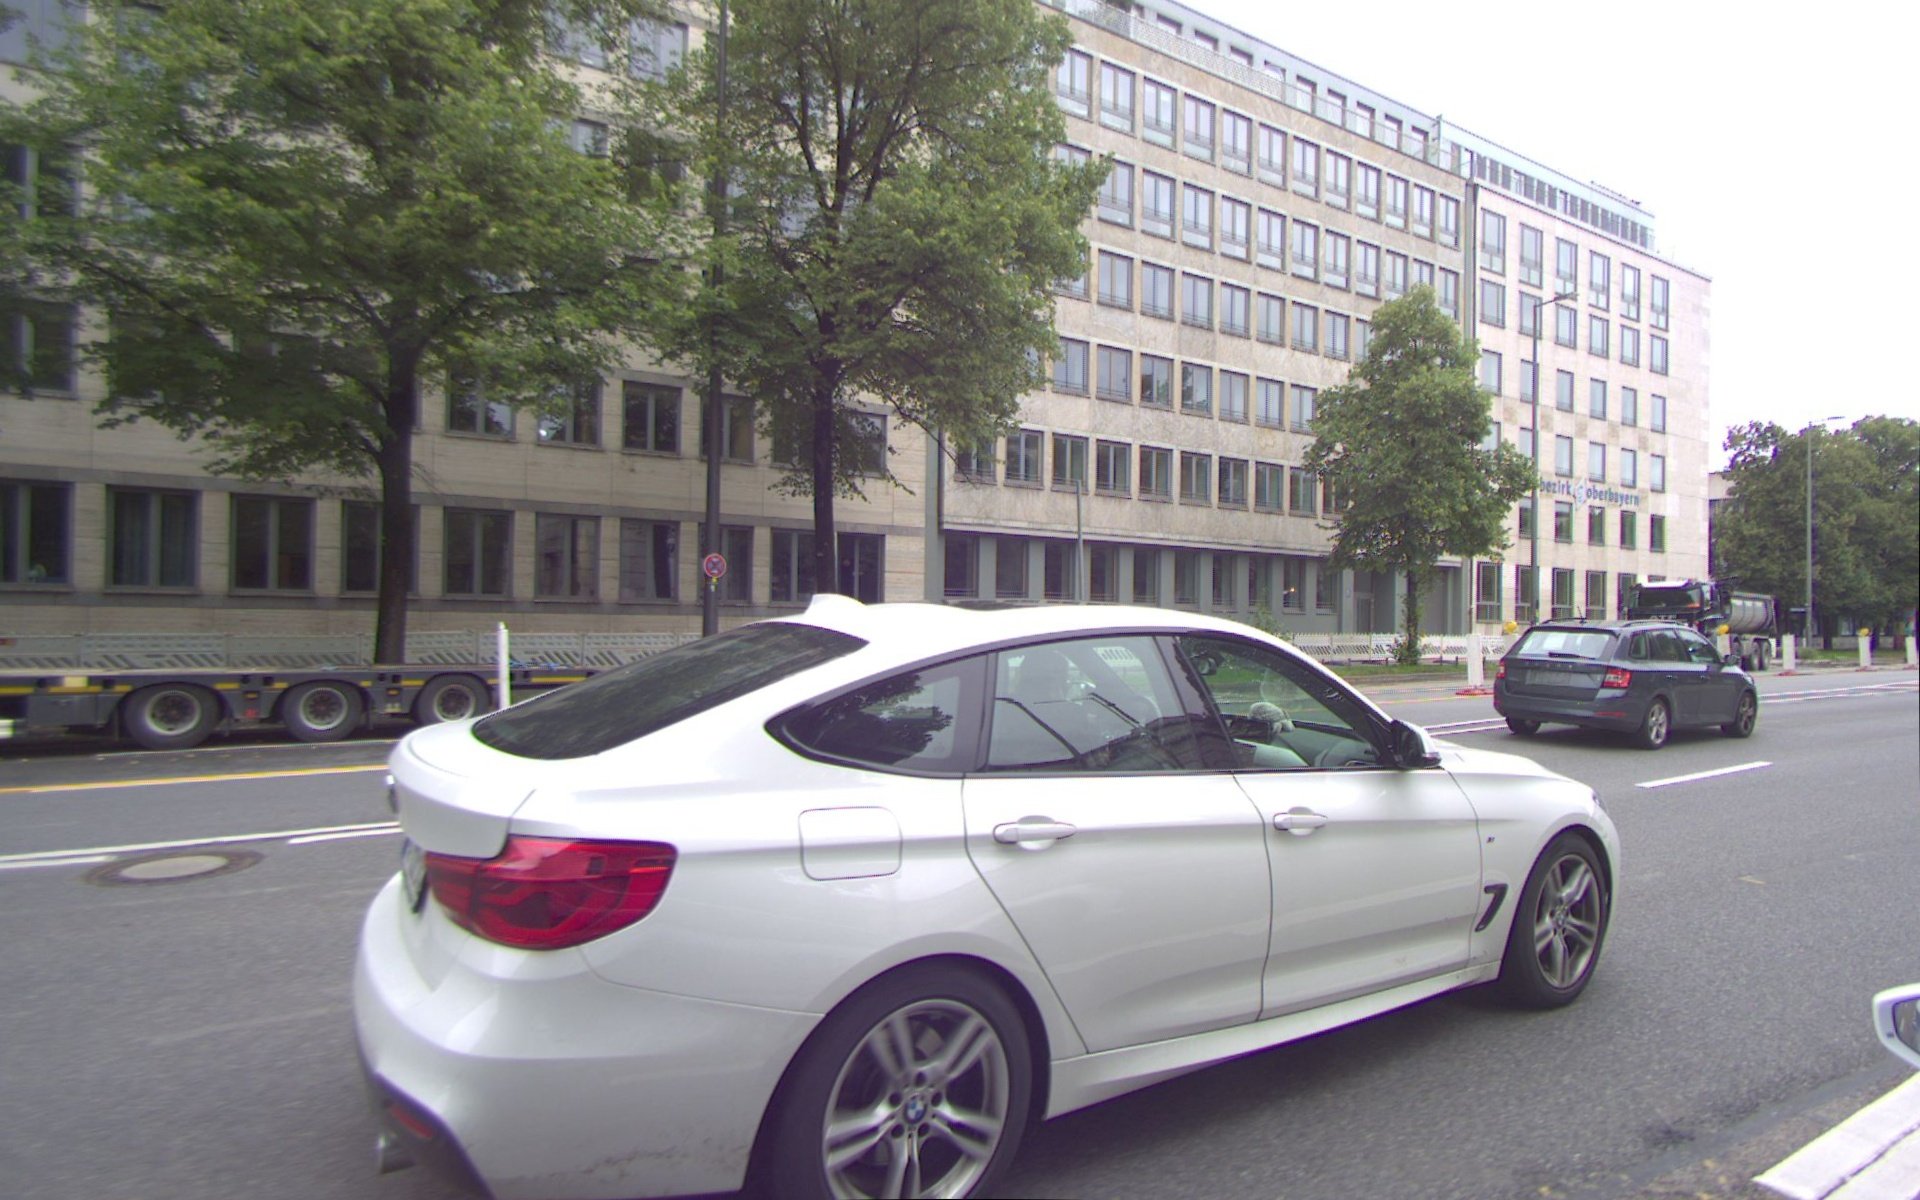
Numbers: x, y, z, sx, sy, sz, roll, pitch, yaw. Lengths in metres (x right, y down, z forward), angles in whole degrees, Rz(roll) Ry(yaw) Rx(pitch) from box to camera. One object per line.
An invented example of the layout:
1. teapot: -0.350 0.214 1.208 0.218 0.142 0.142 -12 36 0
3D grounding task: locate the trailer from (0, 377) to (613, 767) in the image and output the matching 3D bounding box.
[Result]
1. trailer: -10.145 -0.285 10.989 11.655 3.790 2.929 1 0 -36

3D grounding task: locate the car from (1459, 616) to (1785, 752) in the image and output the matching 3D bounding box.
1. car: 8.442 0.970 12.738 4.225 1.466 1.784 2 -1 -30

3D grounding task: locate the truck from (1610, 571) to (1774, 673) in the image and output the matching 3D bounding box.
1. truck: 27.284 0.772 37.266 8.691 3.402 2.817 1 0 -40

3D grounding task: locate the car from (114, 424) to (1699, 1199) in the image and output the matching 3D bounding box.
1. car: 0.436 0.641 3.535 4.970 1.658 1.783 2 -1 -32

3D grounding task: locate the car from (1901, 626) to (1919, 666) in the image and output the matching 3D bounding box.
1. car: 40.556 1.876 41.256 3.959 1.617 1.981 1 -2 -34
